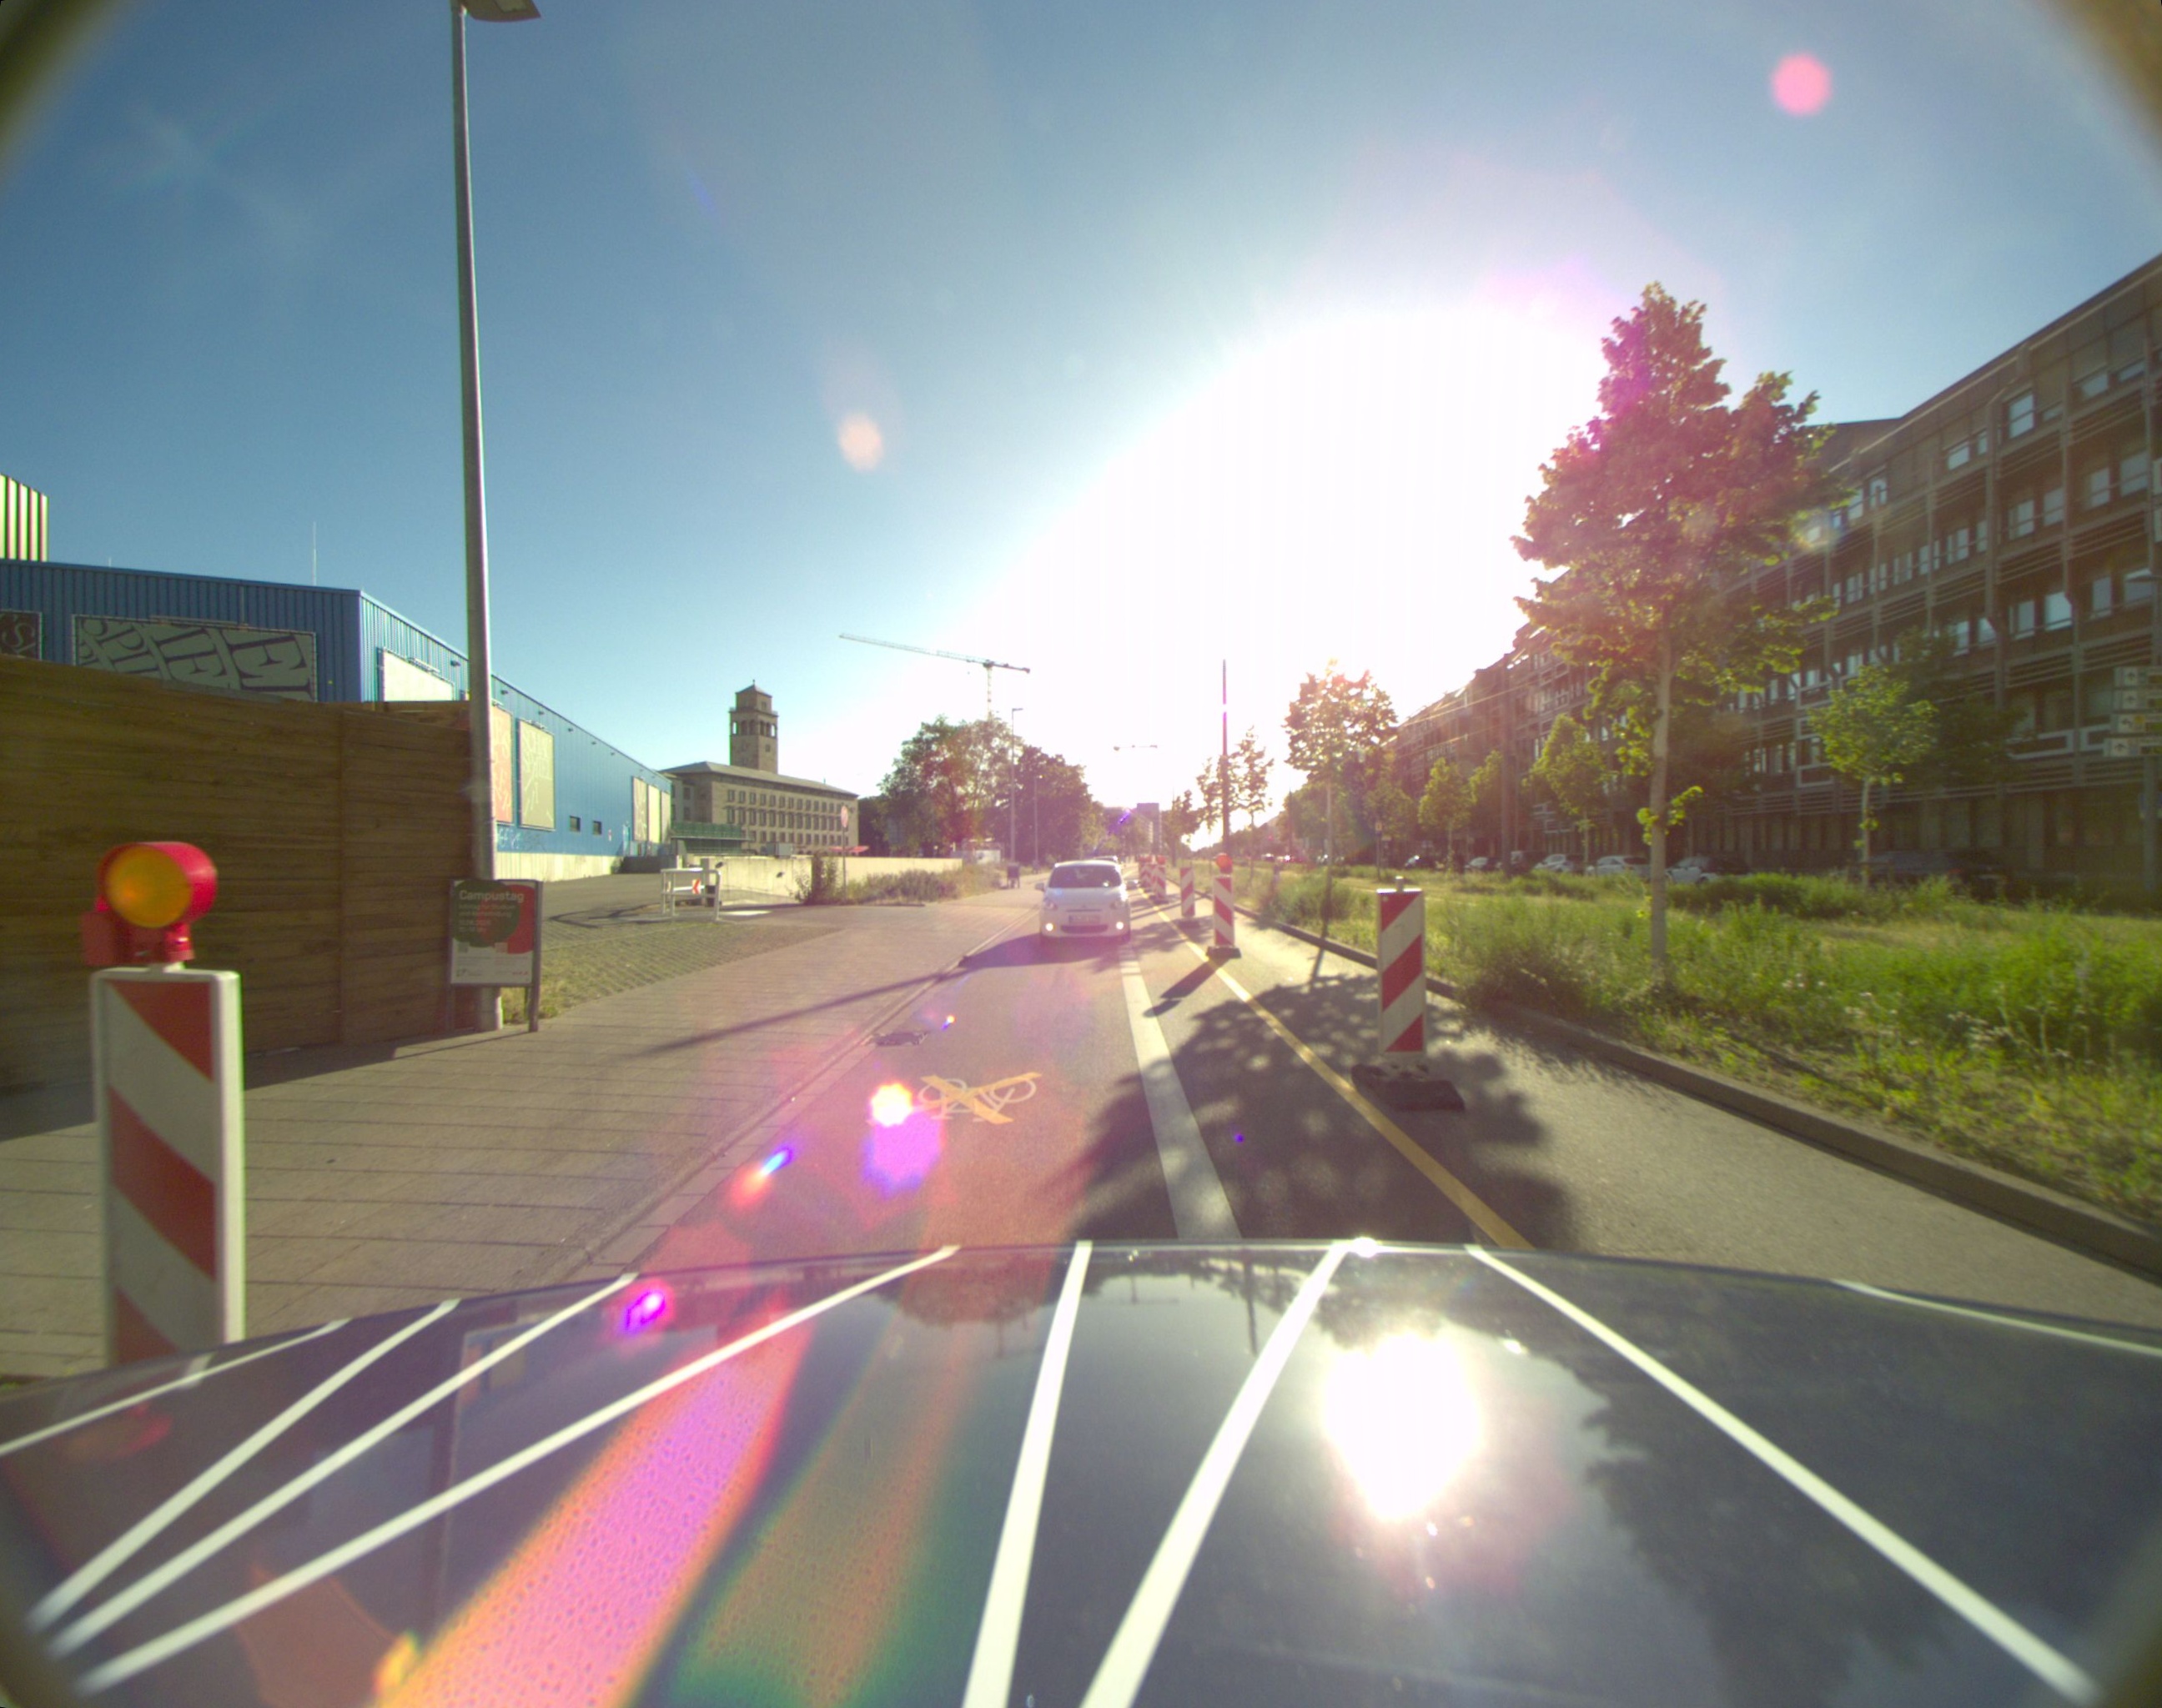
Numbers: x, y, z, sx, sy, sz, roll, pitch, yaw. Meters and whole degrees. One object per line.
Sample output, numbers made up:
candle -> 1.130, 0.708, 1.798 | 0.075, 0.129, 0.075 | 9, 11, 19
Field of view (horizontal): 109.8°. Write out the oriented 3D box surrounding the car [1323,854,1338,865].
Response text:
car -> 41.830, 0.912, 127.394 | 1.725, 1.592, 3.634 | -2, -2, 6

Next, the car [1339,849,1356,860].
car -> 40.680, 0.037, 116.089 | 1.725, 1.535, 3.633 | -2, 0, 6

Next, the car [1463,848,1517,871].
car -> 28.741, 0.370, 53.528 | 1.733, 1.460, 4.506 | -2, 0, 6

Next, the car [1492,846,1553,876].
car -> 27.933, 0.408, 48.230 | 1.754, 1.761, 4.333 | -2, 0, 7

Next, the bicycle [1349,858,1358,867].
bicycle -> 31.736, 0.998, 88.479 | 0.566, 1.090, 1.772 | 0, 0, 6

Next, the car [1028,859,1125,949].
car -> 0.017, 0.899, 15.107 | 1.614, 1.488, 3.395 | -3, 0, 4

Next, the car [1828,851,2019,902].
car -> 26.080, 0.632, 23.744 | 1.734, 1.453, 3.900 | -1, 0, 3

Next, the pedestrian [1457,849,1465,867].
pedestrian -> 34.197, 0.350, 68.373 | 0.521, 1.569, 0.537 | 0, 1, 10

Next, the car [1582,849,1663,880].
car -> 26.951, 0.485, 37.945 | 1.628, 1.433, 3.821 | -2, 0, 7

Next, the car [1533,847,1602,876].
car -> 27.571, 0.410, 43.201 | 1.741, 1.527, 3.886 | -2, 0, 7

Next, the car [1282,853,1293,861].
car -> 40.715, 0.536, 149.907 | 1.630, 1.487, 4.420 | 0, 0, 9

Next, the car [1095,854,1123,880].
car -> 1.641, 0.760, 45.758 | 1.459, 1.472, 3.527 | -1, 0, -1

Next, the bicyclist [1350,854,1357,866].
bicyclist -> 31.739, 0.702, 88.542 | 0.566, 1.449, 0.706 | 0, 0, 6

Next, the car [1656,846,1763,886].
car -> 26.677, 0.474, 32.423 | 1.652, 1.545, 3.968 | -1, 0, 7

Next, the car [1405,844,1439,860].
car -> 30.643, -0.170, 68.456 | 1.719, 1.379, 4.042 | -3, 0, 8

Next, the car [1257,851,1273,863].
car -> 28.229, 0.424, 116.731 | 1.732, 1.736, 4.122 | -1, 0, 5
